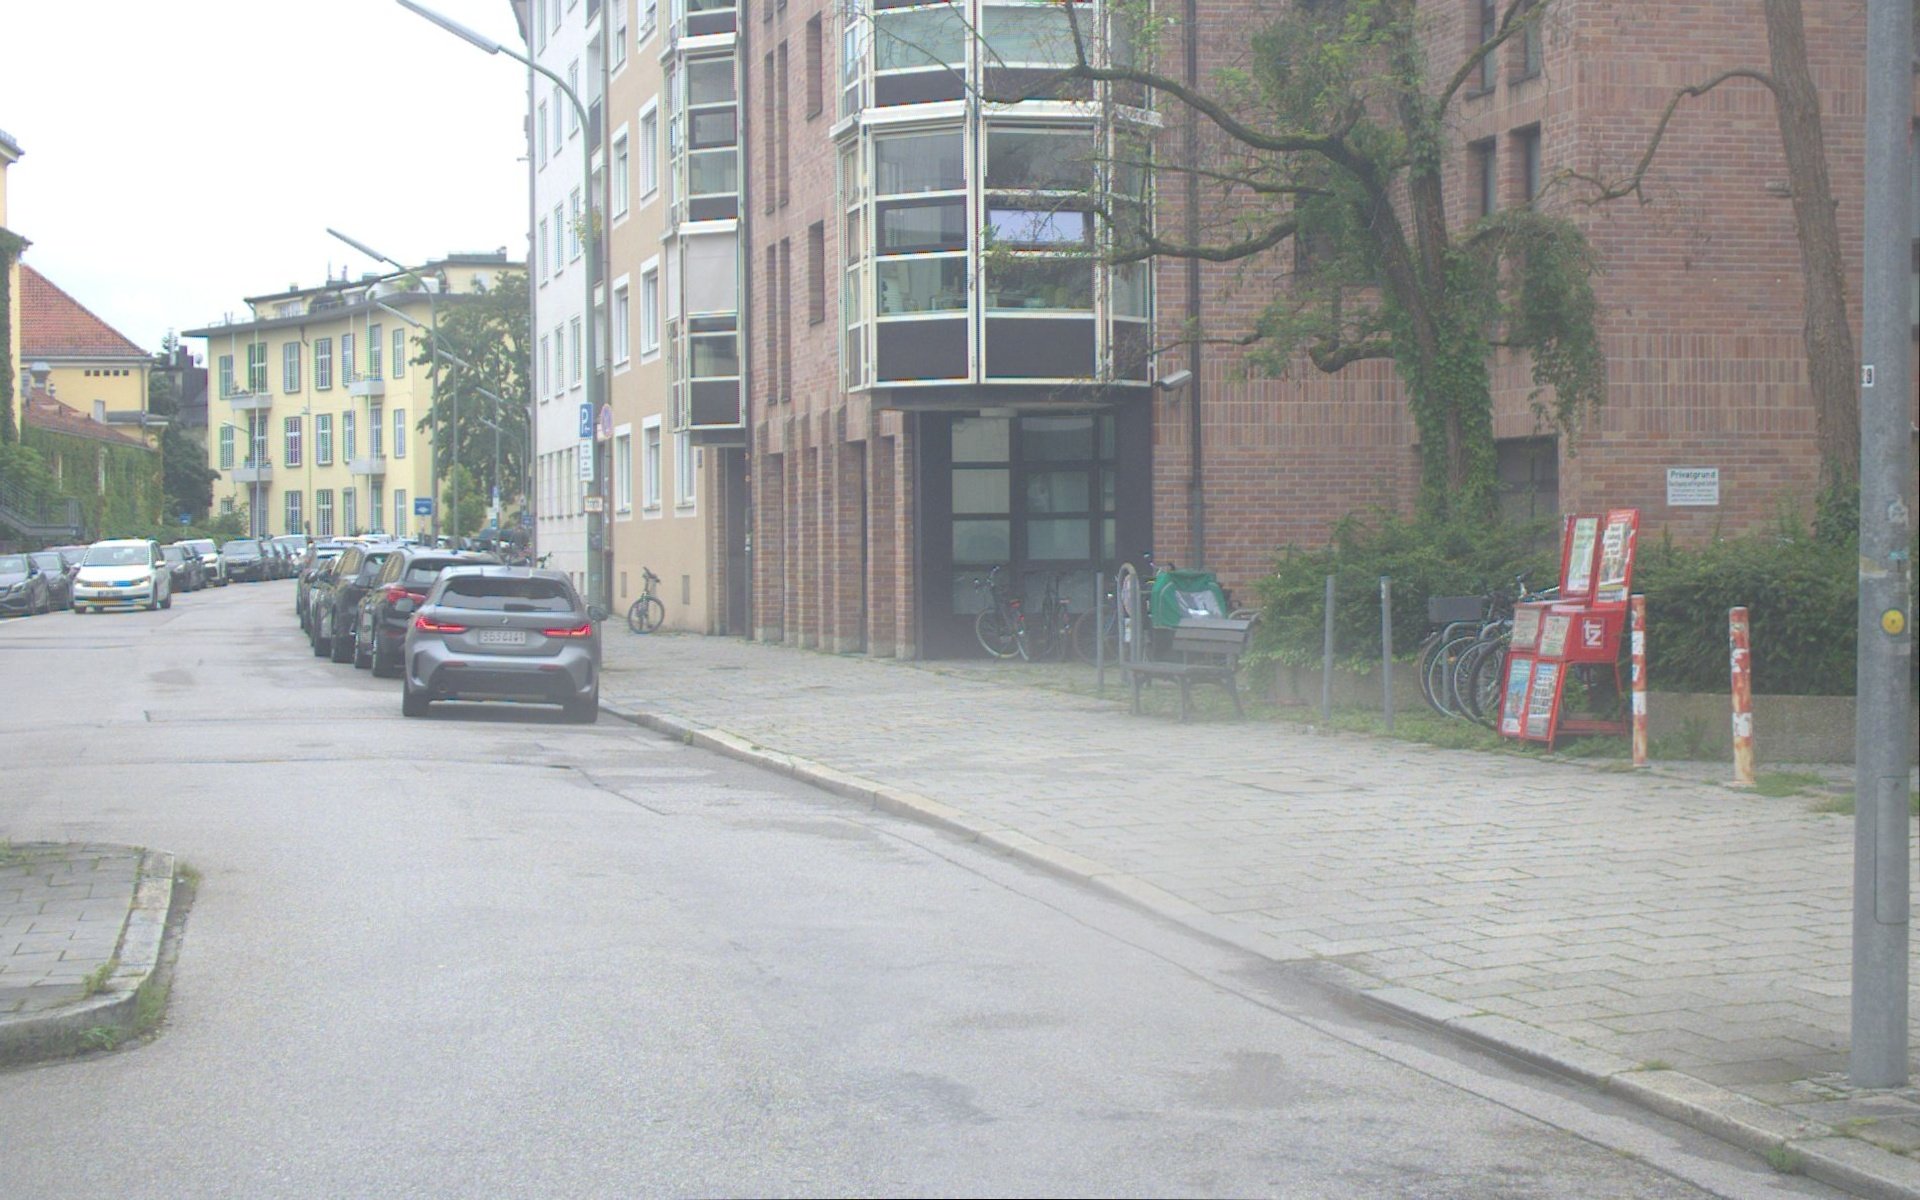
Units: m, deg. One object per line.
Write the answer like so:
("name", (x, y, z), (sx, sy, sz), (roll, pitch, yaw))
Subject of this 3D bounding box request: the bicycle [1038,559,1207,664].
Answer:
("bicycle", (1.858, 0.134, 39.397), (1.848, 1.143, 0.488), (1, 2, -5))

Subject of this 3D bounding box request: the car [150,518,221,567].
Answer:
("car", (-25.965, -1.940, 115.327), (1.993, 1.543, 4.001), (1, 2, -9))

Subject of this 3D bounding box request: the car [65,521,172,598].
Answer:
("car", (-19.216, -0.903, 78.651), (2.025, 1.616, 4.506), (-2, 0, -10))

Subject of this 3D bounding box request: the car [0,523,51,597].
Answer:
("car", (-21.568, -0.921, 77.314), (1.772, 1.545, 3.779), (1, 2, -9))

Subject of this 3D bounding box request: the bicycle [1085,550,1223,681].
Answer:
("bicycle", (1.890, 0.149, 33.827), (0.534, 1.244, 2.414), (1, 0, -17))

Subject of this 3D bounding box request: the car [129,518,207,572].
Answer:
("car", (-24.400, -1.713, 106.019), (1.993, 1.543, 4.001), (1, 2, -9))

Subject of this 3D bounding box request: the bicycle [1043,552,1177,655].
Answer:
("bicycle", (1.736, 0.042, 39.834), (1.476, 1.143, 0.383), (1, 2, -5))

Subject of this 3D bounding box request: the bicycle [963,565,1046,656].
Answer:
("bicycle", (0.518, 0.114, 40.885), (0.486, 1.056, 1.996), (1, 0, -14))

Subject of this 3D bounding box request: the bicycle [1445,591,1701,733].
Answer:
("bicycle", (4.393, 0.445, 24.668), (1.700, 0.962, 0.546), (1, 2, -11))

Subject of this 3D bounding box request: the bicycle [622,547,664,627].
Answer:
("bicycle", (-5.490, -0.243, 59.418), (0.468, 1.283, 2.676), (1, 2, -10))

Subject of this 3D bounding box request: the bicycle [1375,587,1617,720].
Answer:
("bicycle", (4.067, 0.405, 26.118), (1.700, 0.962, 0.546), (1, 2, -11))

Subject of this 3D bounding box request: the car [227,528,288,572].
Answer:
("car", (-26.343, -1.879, 128.956), (1.993, 1.543, 4.001), (1, 2, -9))

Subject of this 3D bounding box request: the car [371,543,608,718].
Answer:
("car", (-4.544, 0.242, 32.715), (1.924, 1.507, 4.393), (1, 1, -11))

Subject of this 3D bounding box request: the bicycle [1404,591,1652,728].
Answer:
("bicycle", (4.205, 0.439, 25.460), (1.700, 0.962, 0.546), (1, 2, -11))

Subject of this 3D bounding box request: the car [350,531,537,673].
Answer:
("car", (-6.560, -0.014, 43.324), (1.829, 1.596, 4.268), (1, 2, -15))

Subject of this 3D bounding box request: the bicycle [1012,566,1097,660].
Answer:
("bicycle", (1.113, 0.146, 41.029), (0.486, 1.056, 1.996), (1, 1, -14))

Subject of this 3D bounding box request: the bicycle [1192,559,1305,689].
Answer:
("bicycle", (2.687, 0.211, 31.951), (0.421, 1.169, 1.359), (3, 2, 33))

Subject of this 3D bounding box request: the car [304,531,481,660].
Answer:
("car", (-7.962, -0.094, 47.928), (1.963, 1.596, 4.673), (1, 2, -15))
